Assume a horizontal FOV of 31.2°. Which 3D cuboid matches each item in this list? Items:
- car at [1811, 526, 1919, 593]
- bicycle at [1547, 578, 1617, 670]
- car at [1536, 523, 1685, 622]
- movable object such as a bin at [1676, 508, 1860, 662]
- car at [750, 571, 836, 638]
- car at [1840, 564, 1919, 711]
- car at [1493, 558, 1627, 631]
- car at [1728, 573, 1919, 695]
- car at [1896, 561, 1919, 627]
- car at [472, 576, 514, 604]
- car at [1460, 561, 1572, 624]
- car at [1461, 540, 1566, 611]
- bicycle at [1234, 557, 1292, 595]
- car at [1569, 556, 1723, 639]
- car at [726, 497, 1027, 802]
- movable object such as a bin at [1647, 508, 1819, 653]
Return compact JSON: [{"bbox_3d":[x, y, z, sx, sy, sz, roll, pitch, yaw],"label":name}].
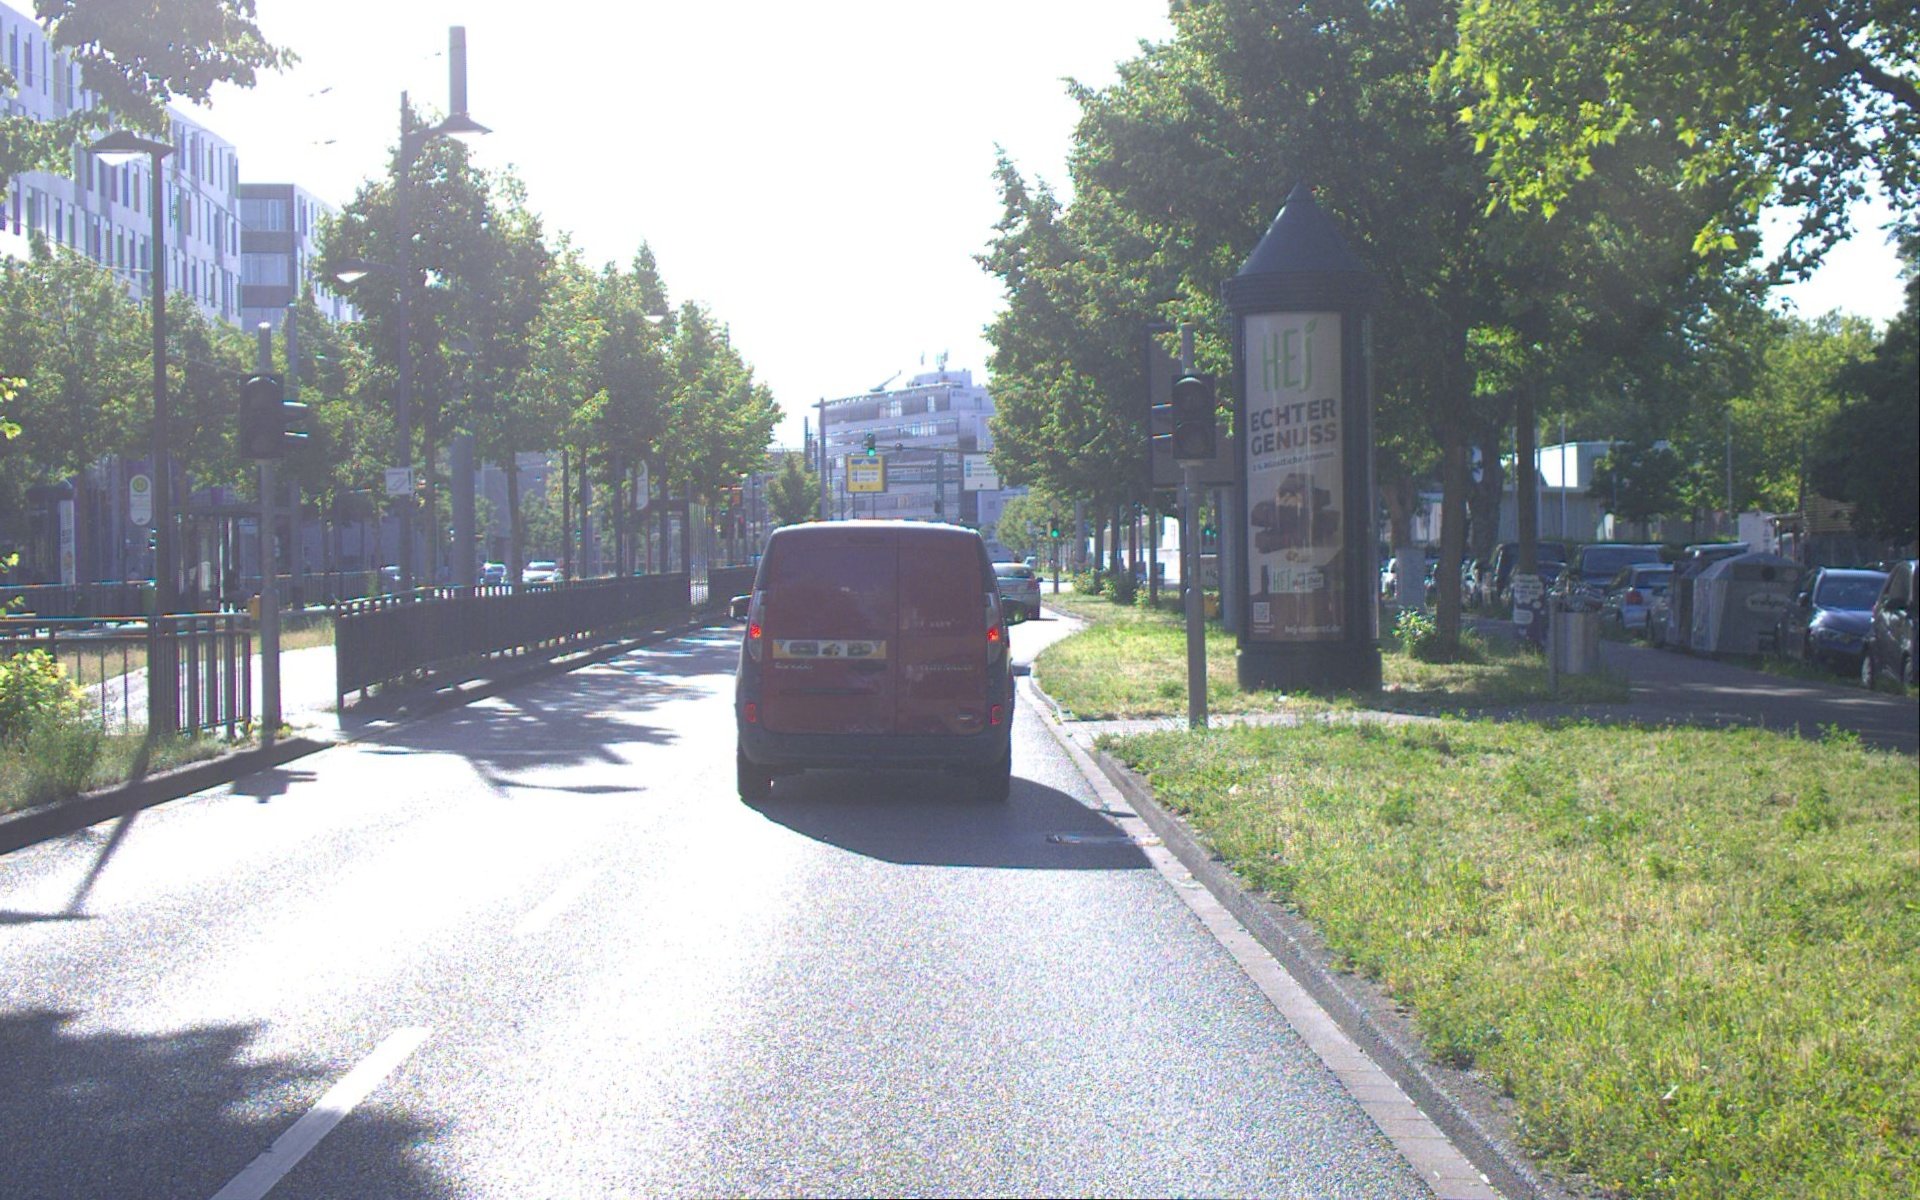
[{"bbox_3d":[22.318,-0.980,84.067,1.871,1.541,4.690,-2,0,1],"label":"car"},{"bbox_3d":[7.283,0.273,40.305,0.493,1.043,1.904,1,0,1],"label":"bicycle"},{"bbox_3d":[12.513,-0.518,66.398,1.871,1.814,4.893,1,0,-1],"label":"car"},{"bbox_3d":[11.008,-0.203,46.975,2.081,2.007,2.136,1,0,4],"label":"movable object such as a bin"},{"bbox_3d":[-4.238,0.104,87.603,1.993,1.612,4.000,1,0,0],"label":"car"},{"bbox_3d":[10.539,0.394,36.577,1.662,1.495,2.989,1,0,2],"label":"car"},{"bbox_3d":[12.515,-0.119,71.937,1.871,1.429,4.902,1,0,-1],"label":"car"},{"bbox_3d":[10.764,0.394,42.178,2.000,1.380,4.744,1,0,5],"label":"car"},{"bbox_3d":[22.388,-0.174,76.454,1.871,1.478,4.690,-2,0,1],"label":"car"},{"bbox_3d":[-30.979,-0.657,228.314,1.994,1.759,3.999,1,0,4],"label":"car"},{"bbox_3d":[12.755,-0.178,79.022,1.871,1.363,4.000,1,0,-1],"label":"car"},{"bbox_3d":[13.511,-0.590,84.118,1.871,1.678,4.000,1,0,-1],"label":"car"},{"bbox_3d":[10.167,-0.797,115.323,1.918,1.264,0.479,0,1,1],"label":"bicycle"},{"bbox_3d":[12.120,-0.053,60.944,1.871,1.384,4.000,1,0,-1],"label":"car"},{"bbox_3d":[-0.626,0.297,23.067,1.808,1.831,4.000,1,0,-3],"label":"car"},{"bbox_3d":[11.158,-0.278,49.738,2.081,2.007,2.136,1,0,4],"label":"movable object such as a bin"}]
